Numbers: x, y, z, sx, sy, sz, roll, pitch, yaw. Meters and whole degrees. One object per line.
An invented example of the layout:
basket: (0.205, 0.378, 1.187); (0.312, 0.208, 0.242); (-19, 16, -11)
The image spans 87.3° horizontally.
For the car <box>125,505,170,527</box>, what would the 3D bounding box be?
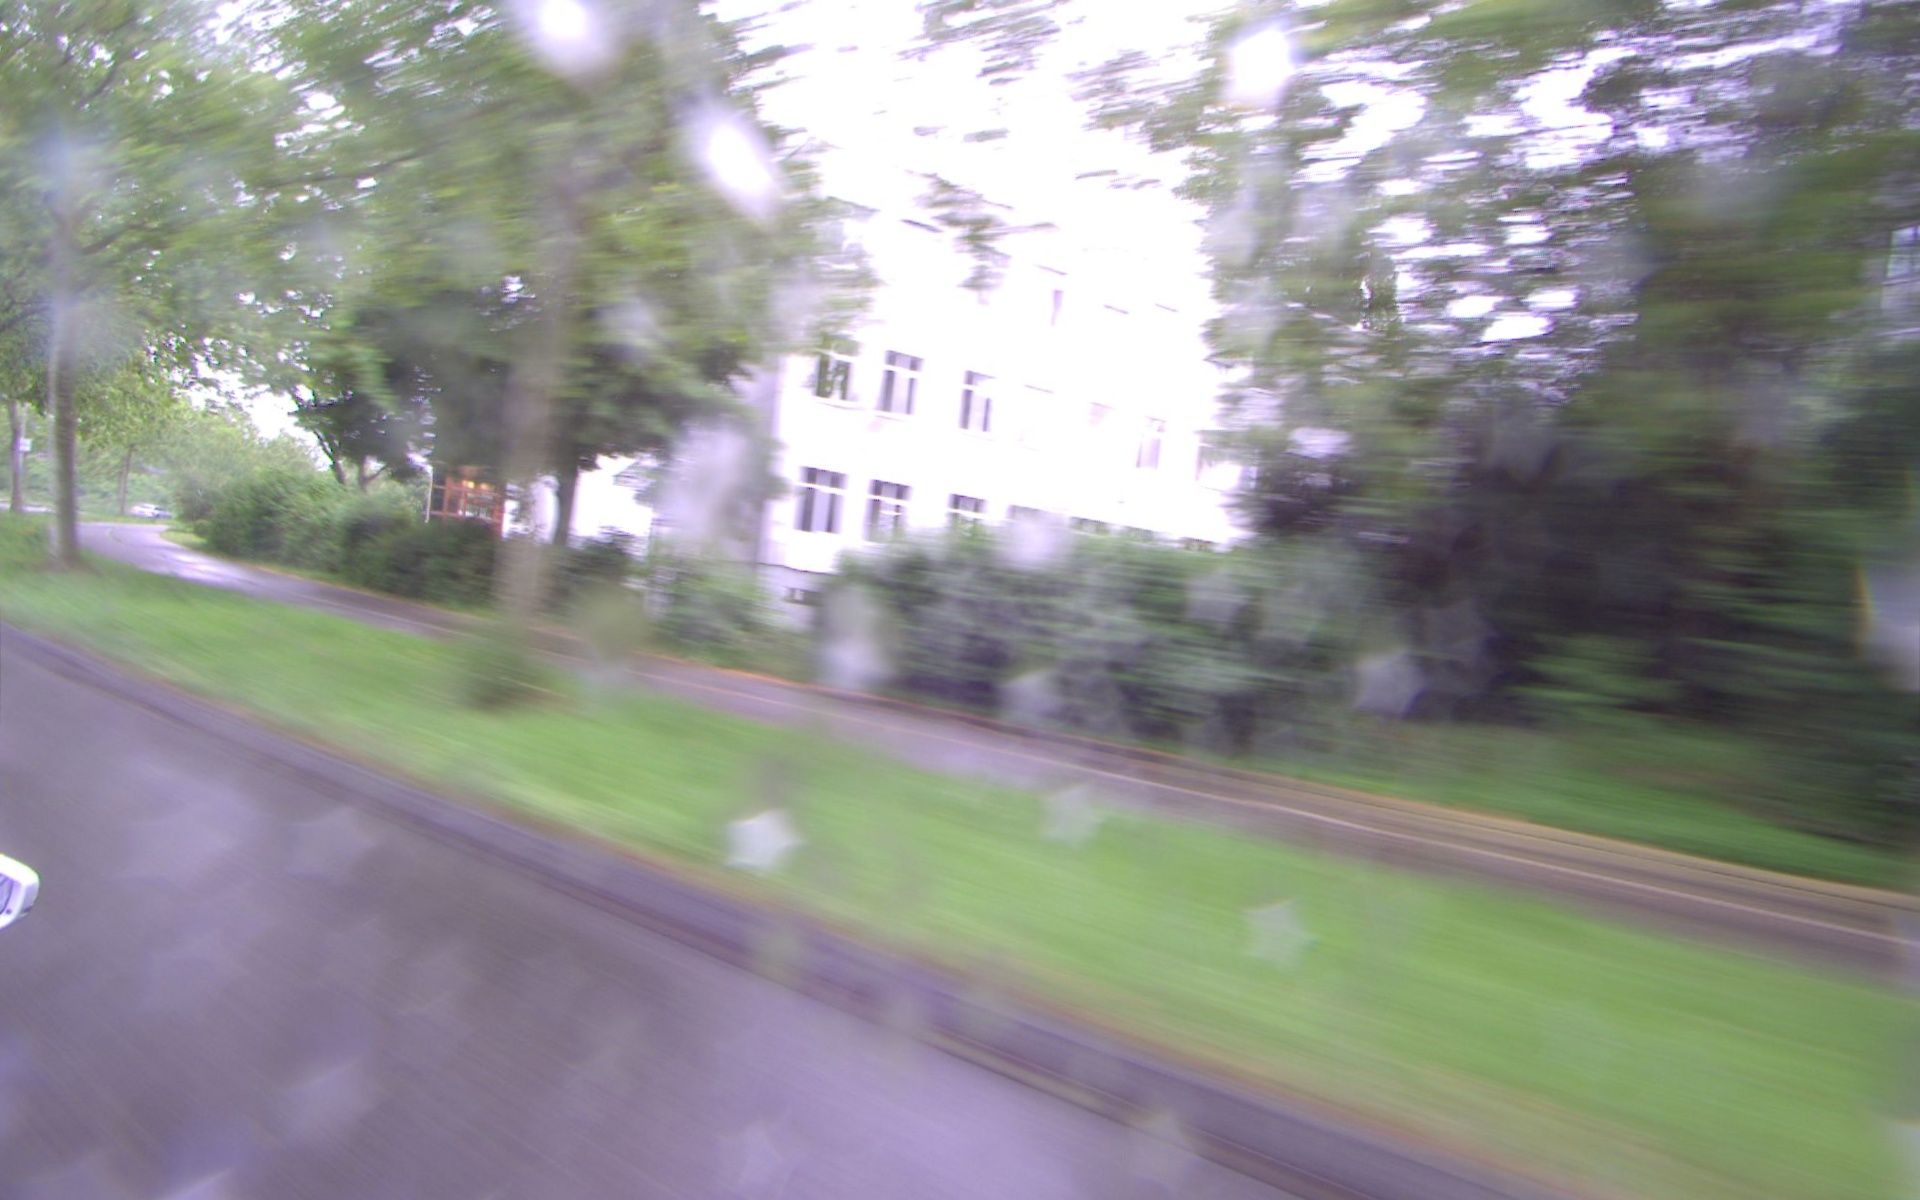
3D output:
car: (-74.987, -7.704, 92.897); (1.761, 1.574, 3.982); (9, 0, -19)
